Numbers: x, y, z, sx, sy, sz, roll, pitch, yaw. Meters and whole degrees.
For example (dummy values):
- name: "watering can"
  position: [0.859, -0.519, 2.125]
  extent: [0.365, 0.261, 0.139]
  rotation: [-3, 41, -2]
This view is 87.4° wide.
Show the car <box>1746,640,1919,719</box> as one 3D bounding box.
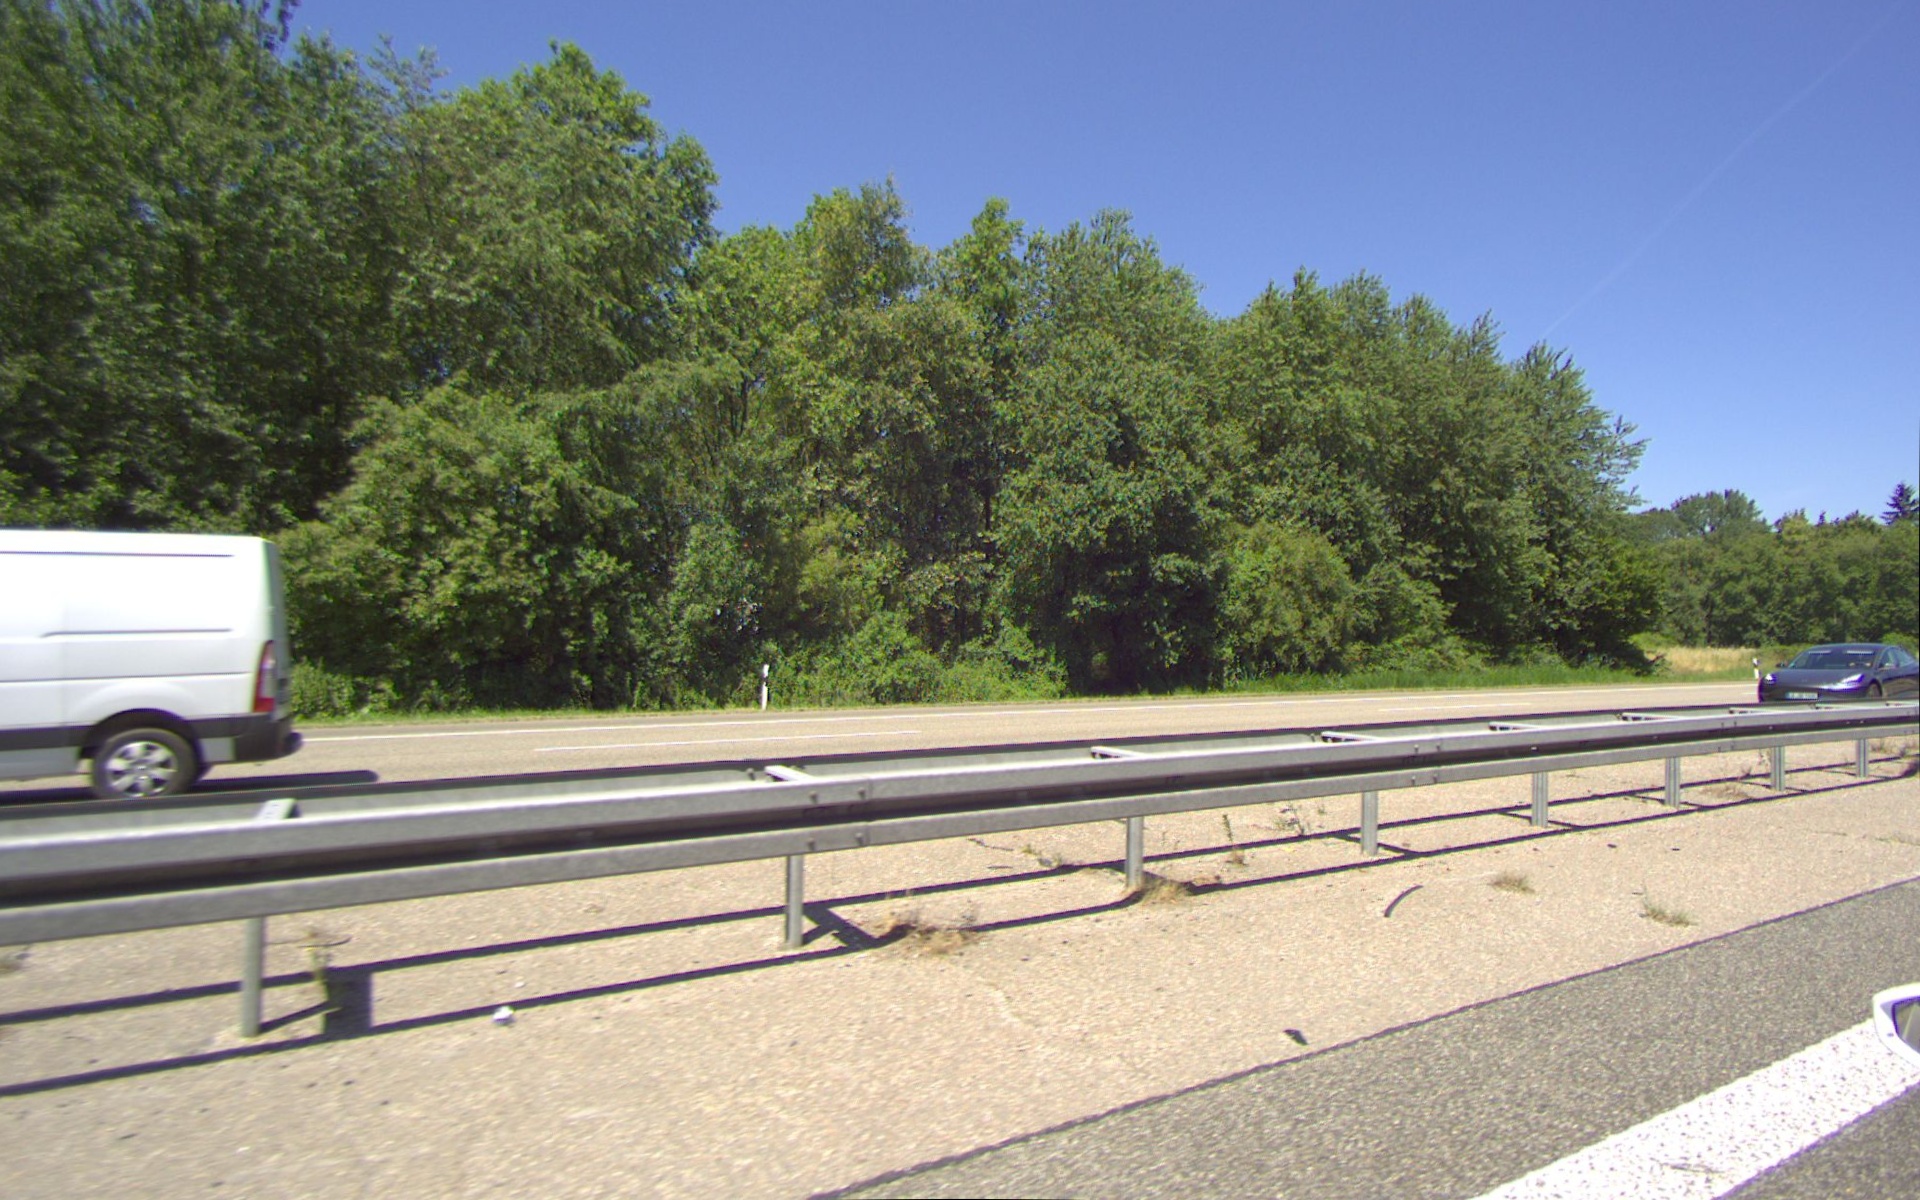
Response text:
- name: "car"
  position: [18.702, 1.621, 21.267]
  extent: [4.516, 1.500, 1.796]
  rotation: [2, -2, -32]

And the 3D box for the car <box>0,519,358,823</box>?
- name: "car"
  position: [-8.116, 0.559, 8.401]
  extent: [5.217, 2.318, 2.076]
  rotation: [2, -2, -32]
